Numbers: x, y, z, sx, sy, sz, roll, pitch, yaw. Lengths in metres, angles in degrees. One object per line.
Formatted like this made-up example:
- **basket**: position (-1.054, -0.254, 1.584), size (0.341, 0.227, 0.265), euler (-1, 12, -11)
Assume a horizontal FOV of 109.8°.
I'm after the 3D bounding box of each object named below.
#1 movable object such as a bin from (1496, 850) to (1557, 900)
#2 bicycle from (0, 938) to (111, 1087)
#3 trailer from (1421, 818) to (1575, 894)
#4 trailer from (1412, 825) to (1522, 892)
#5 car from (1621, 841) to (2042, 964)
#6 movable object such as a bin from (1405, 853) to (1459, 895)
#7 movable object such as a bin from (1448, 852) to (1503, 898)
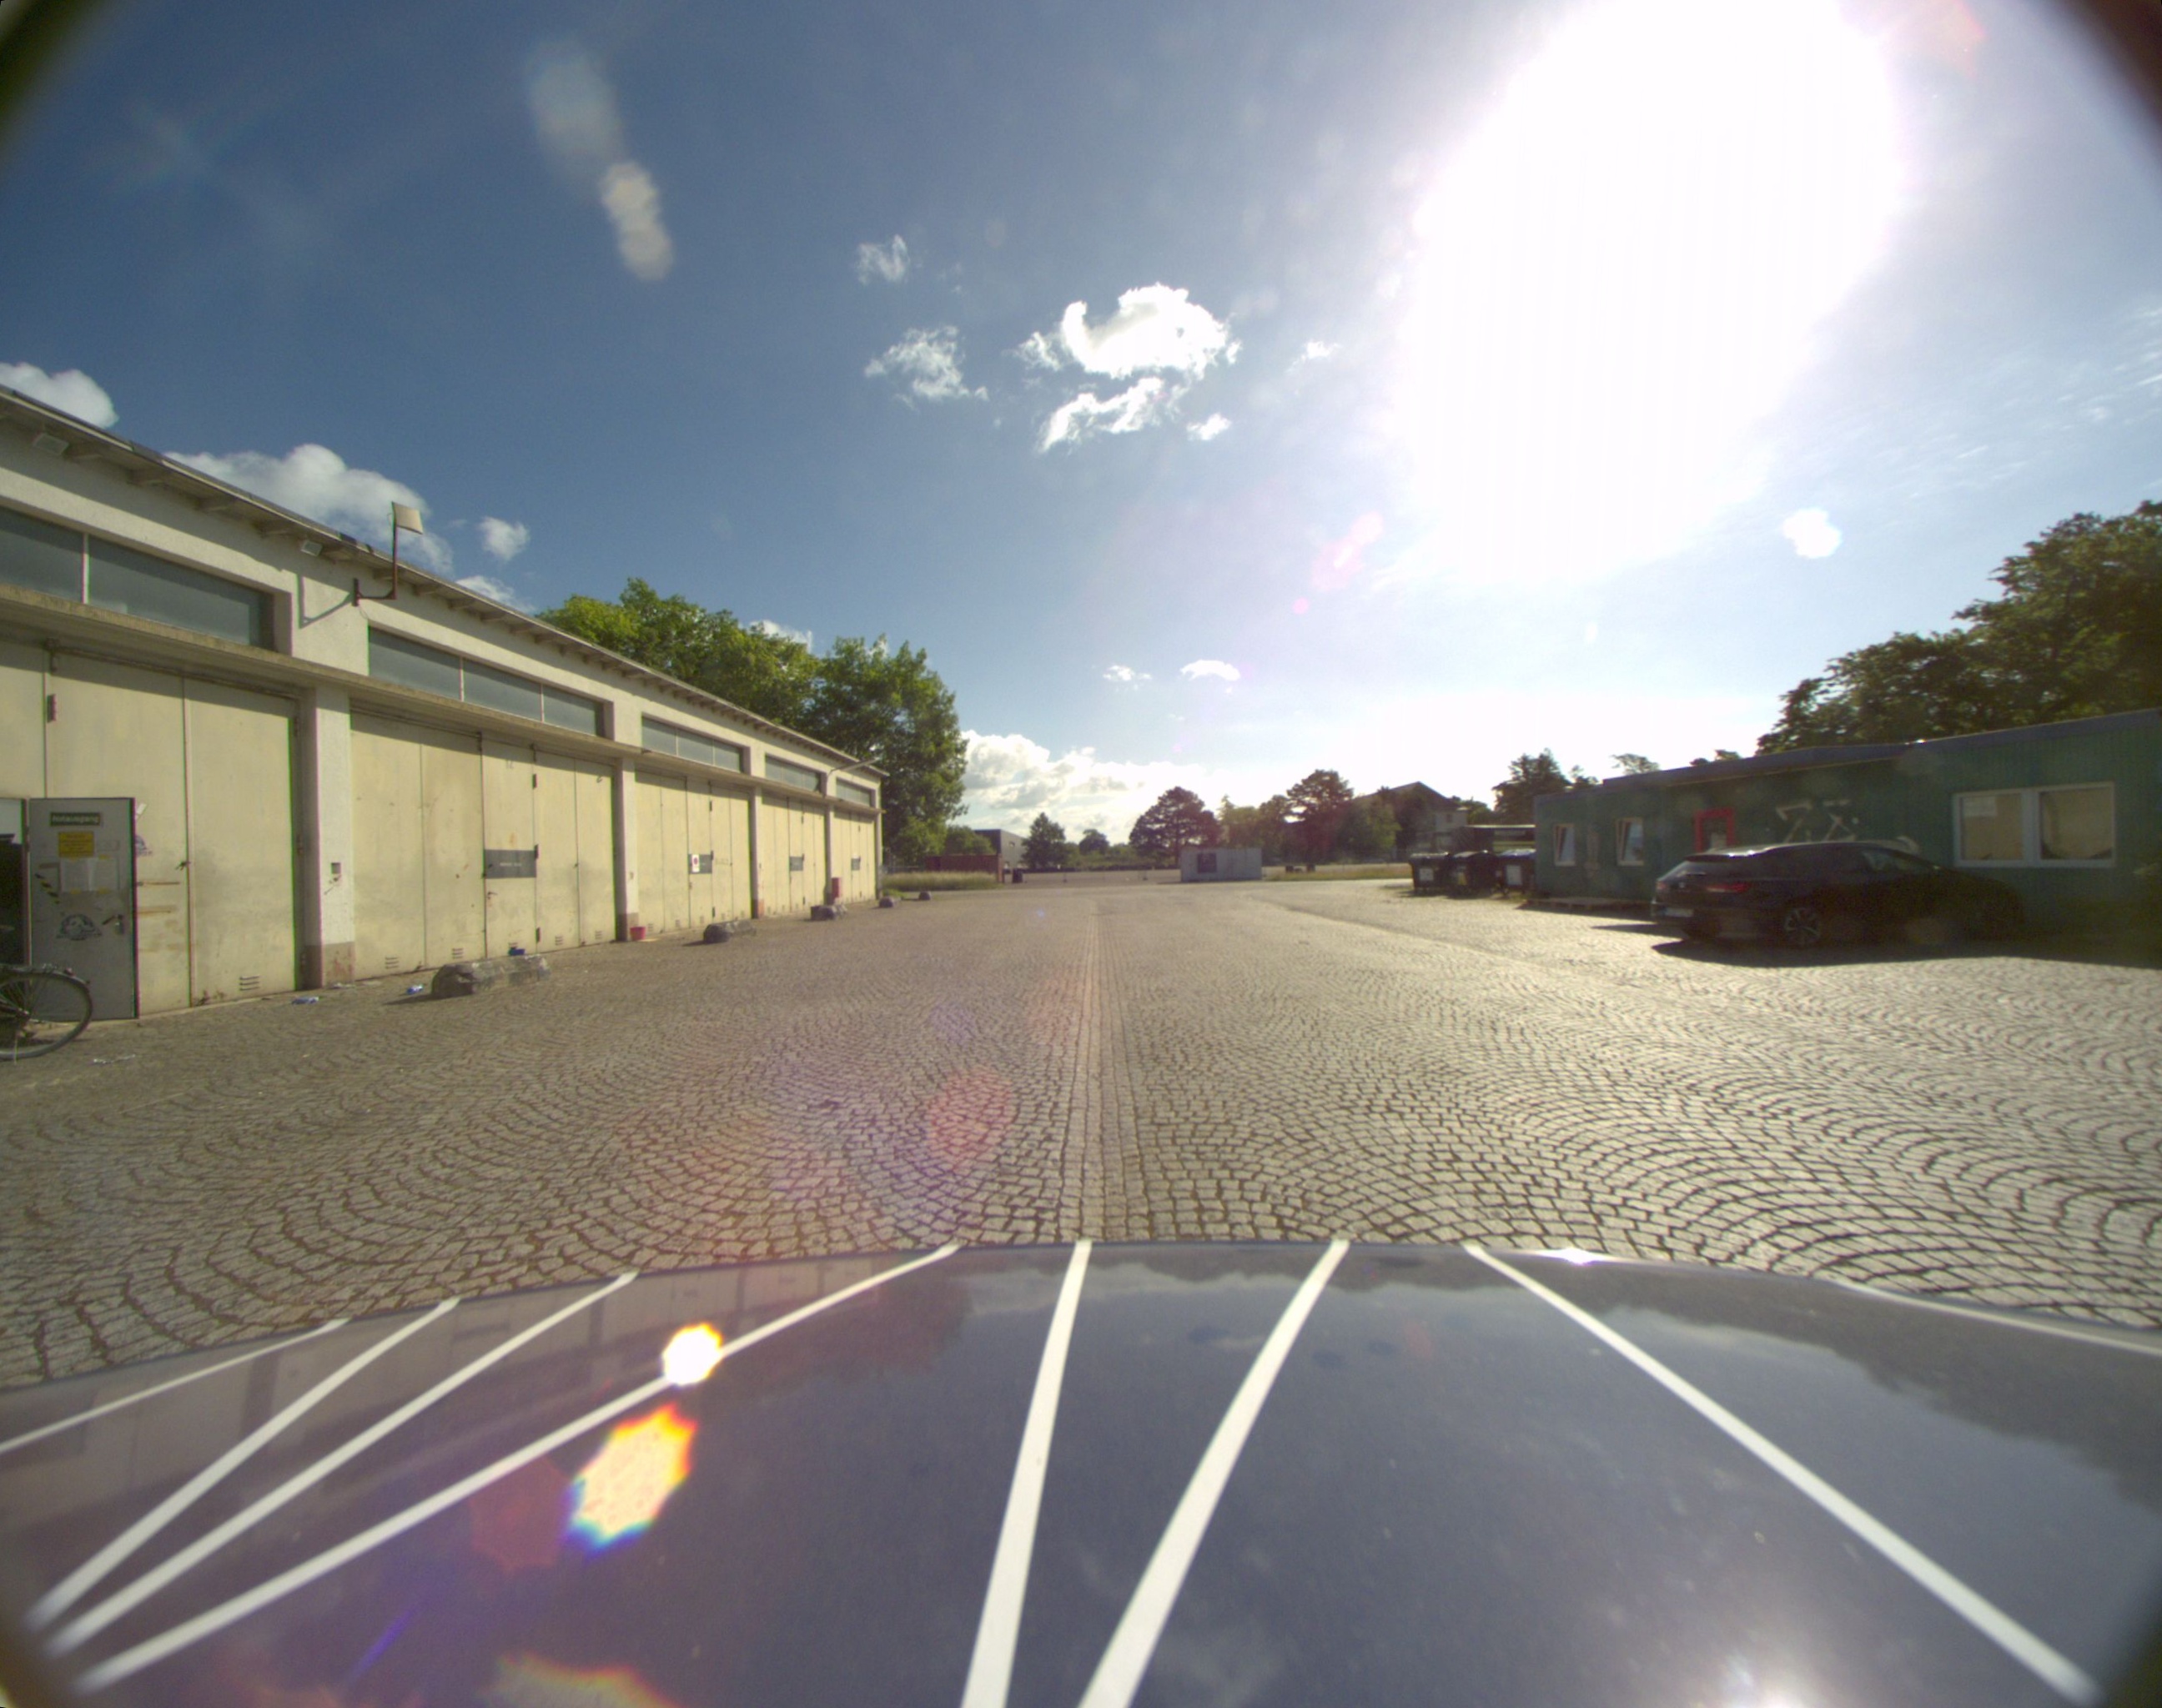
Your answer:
- **movable object such as a bin**: position (13.864, 0.631, 23.671), size (0.885, 1.449, 1.439), euler (-3, 0, -10)
- **bicycle**: position (-8.576, 1.248, 5.463), size (0.665, 1.062, 1.826), euler (-3, 0, 13)
- **trailer**: position (15.600, 0.079, 28.582), size (4.649, 2.553, 1.951), euler (-3, 1, -3)
- **trailer**: position (15.675, 0.177, 31.033), size (3.393, 2.455, 2.044), euler (-3, 0, 2)
- **car**: position (10.734, 0.642, 11.126), size (4.262, 1.441, 1.931), euler (-3, 0, -1)
- **movable object such as a bin**: position (12.687, 0.731, 27.483), size (1.435, 1.449, 1.158), euler (-2, 1, 44)
- **movable object such as a bin**: position (13.144, 0.686, 25.363), size (1.020, 1.449, 1.440), euler (-3, 0, 1)
